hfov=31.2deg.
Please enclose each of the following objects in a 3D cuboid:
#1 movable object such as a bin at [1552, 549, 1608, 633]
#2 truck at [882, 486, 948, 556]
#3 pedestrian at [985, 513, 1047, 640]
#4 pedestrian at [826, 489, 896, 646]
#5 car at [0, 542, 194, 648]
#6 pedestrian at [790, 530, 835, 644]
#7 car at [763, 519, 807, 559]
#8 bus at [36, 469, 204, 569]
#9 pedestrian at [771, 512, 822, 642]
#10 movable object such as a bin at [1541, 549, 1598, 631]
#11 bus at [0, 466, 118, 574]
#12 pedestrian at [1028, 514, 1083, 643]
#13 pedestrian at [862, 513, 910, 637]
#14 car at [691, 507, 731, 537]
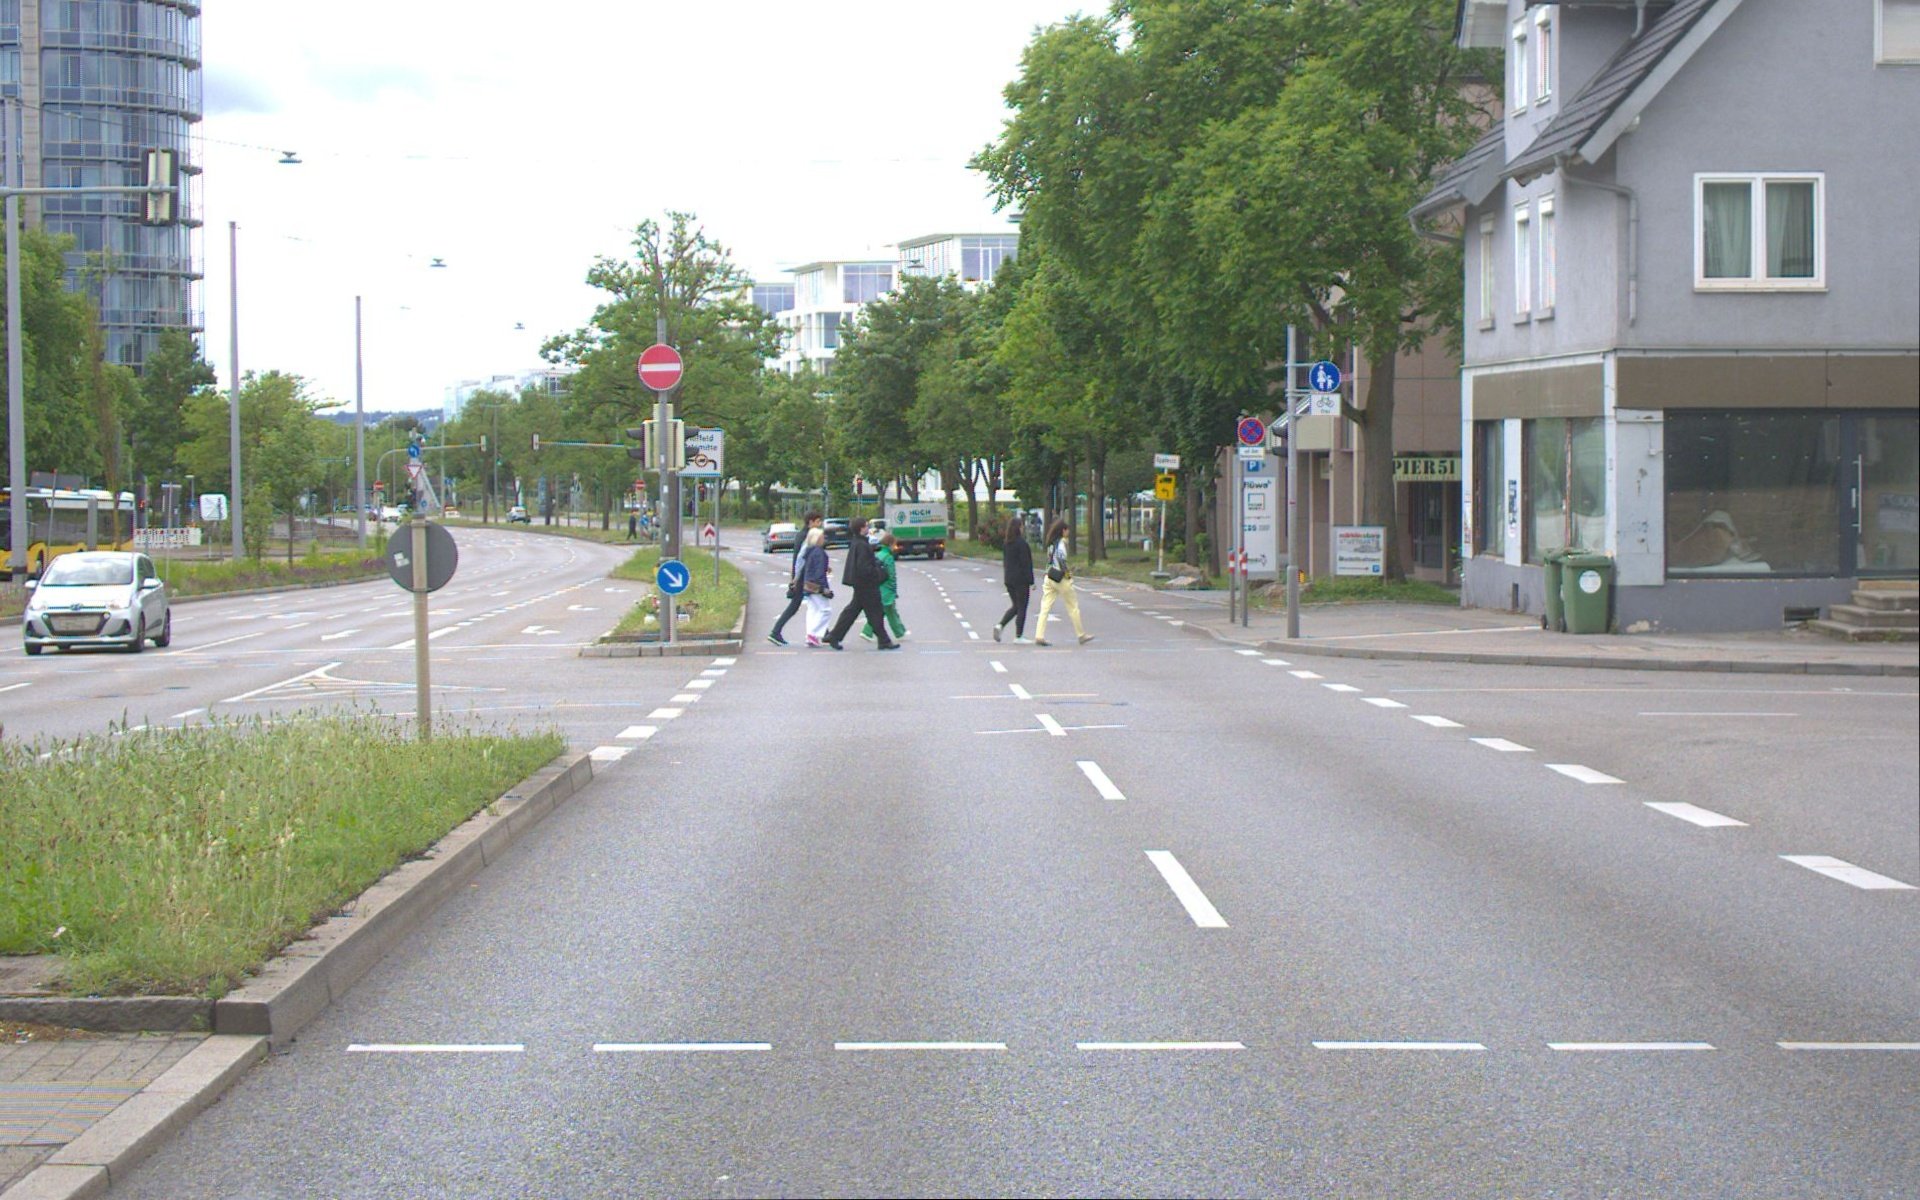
[{"bbox_3d":[7.921,-0.121,43.929,0.604,1.056,0.589,1,1,1],"label":"movable object such as a bin"},{"bbox_3d":[-1.777,-3.122,134.553,2.470,2.602,6.548,1,2,-1],"label":"truck"},{"bbox_3d":[0.751,-0.321,46.501,0.745,1.710,0.583,-1,1,-7],"label":"pedestrian"},{"bbox_3d":[-1.279,-0.422,44.268,0.829,2.007,0.546,-1,1,-7],"label":"pedestrian"},{"bbox_3d":[-12.740,-0.103,50.944,1.993,1.481,4.000,-1,1,-2],"label":"car"},{"bbox_3d":[-1.938,-0.173,45.214,0.543,1.491,0.487,-1,1,-7],"label":"pedestrian"},{"bbox_3d":[-8.271,-2.891,162.750,1.993,1.824,4.001,1,1,-2],"label":"car"},{"bbox_3d":[-30.374,-2.908,124.822,2.832,3.419,10.732,-1,1,3],"label":"bus"},{"bbox_3d":[-2.181,-0.310,45.839,0.612,1.710,0.546,-1,1,-7],"label":"pedestrian"},{"bbox_3d":[7.886,-0.135,44.503,0.616,1.039,0.589,1,1,1],"label":"movable object such as a bin"},{"bbox_3d":[-30.987,-2.614,114.084,2.832,3.419,10.732,-1,1,3],"label":"bus"},{"bbox_3d":[1.276,-0.290,45.994,0.653,1.710,0.452,-1,1,-7],"label":"pedestrian"},{"bbox_3d":[-1.028,-0.349,47.647,0.583,1.710,0.546,-1,1,-7],"label":"pedestrian"},{"bbox_3d":[-12.781,-3.995,176.130,1.993,1.514,4.001,-1,1,-4],"label":"car"}]
